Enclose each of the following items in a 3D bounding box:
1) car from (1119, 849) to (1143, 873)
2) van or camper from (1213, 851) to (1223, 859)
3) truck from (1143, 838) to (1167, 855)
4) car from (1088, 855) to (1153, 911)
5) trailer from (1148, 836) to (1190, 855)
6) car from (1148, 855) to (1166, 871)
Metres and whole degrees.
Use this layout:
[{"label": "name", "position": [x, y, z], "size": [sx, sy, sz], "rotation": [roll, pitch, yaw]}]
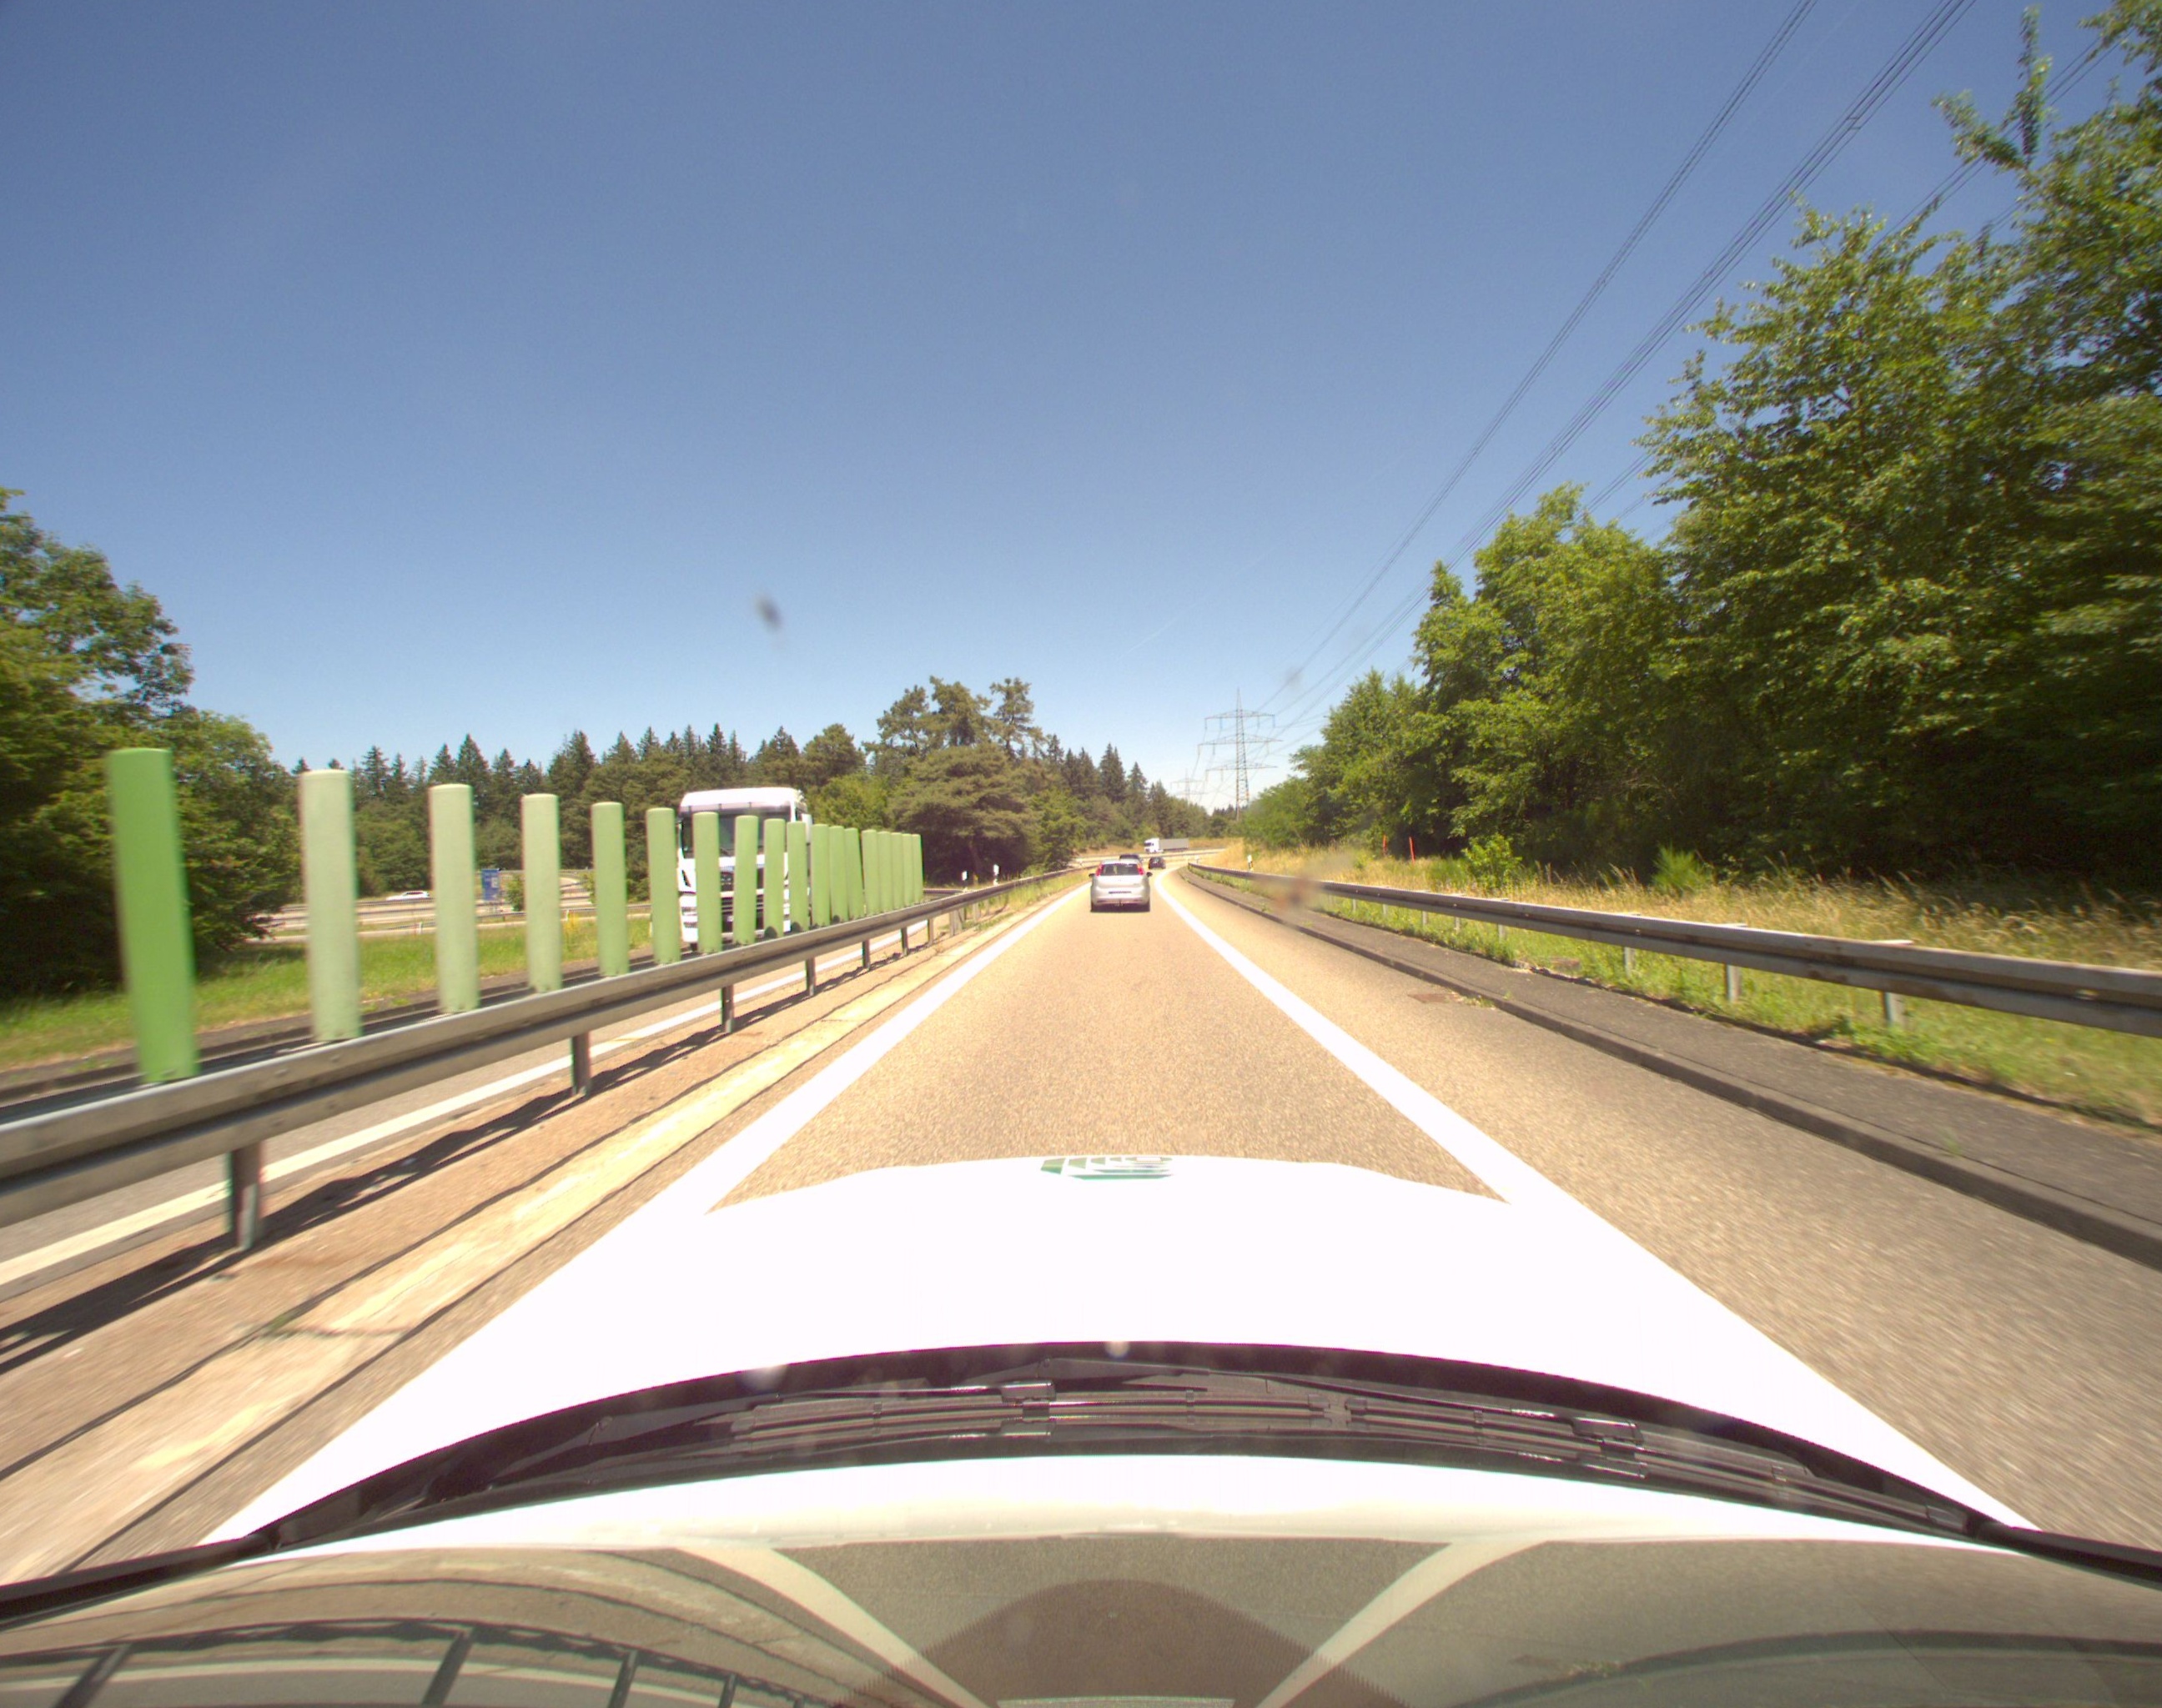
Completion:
[{"label": "car", "position": [3.780, 0.523, 61.621], "size": [1.699, 1.676, 3.400], "rotation": [-1, 1, 3]}, {"label": "van or camper", "position": [28.100, 0.116, 166.927], "size": [1.796, 1.486, 4.012], "rotation": [-2, 1, 10]}, {"label": "truck", "position": [19.770, -2.052, 217.943], "size": [2.911, 4.392, 6.310], "rotation": [-4, 0, 43]}, {"label": "car", "position": [1.087, 0.820, 23.741], "size": [1.701, 1.482, 3.397], "rotation": [-1, -1, 0]}, {"label": "trailer", "position": [24.151, -2.342, 222.556], "size": [2.897, 4.387, 14.385], "rotation": [-4, 0, 44]}, {"label": "car", "position": [8.863, 0.995, 94.762], "size": [1.871, 1.684, 4.009], "rotation": [-4, 0, 8]}]
